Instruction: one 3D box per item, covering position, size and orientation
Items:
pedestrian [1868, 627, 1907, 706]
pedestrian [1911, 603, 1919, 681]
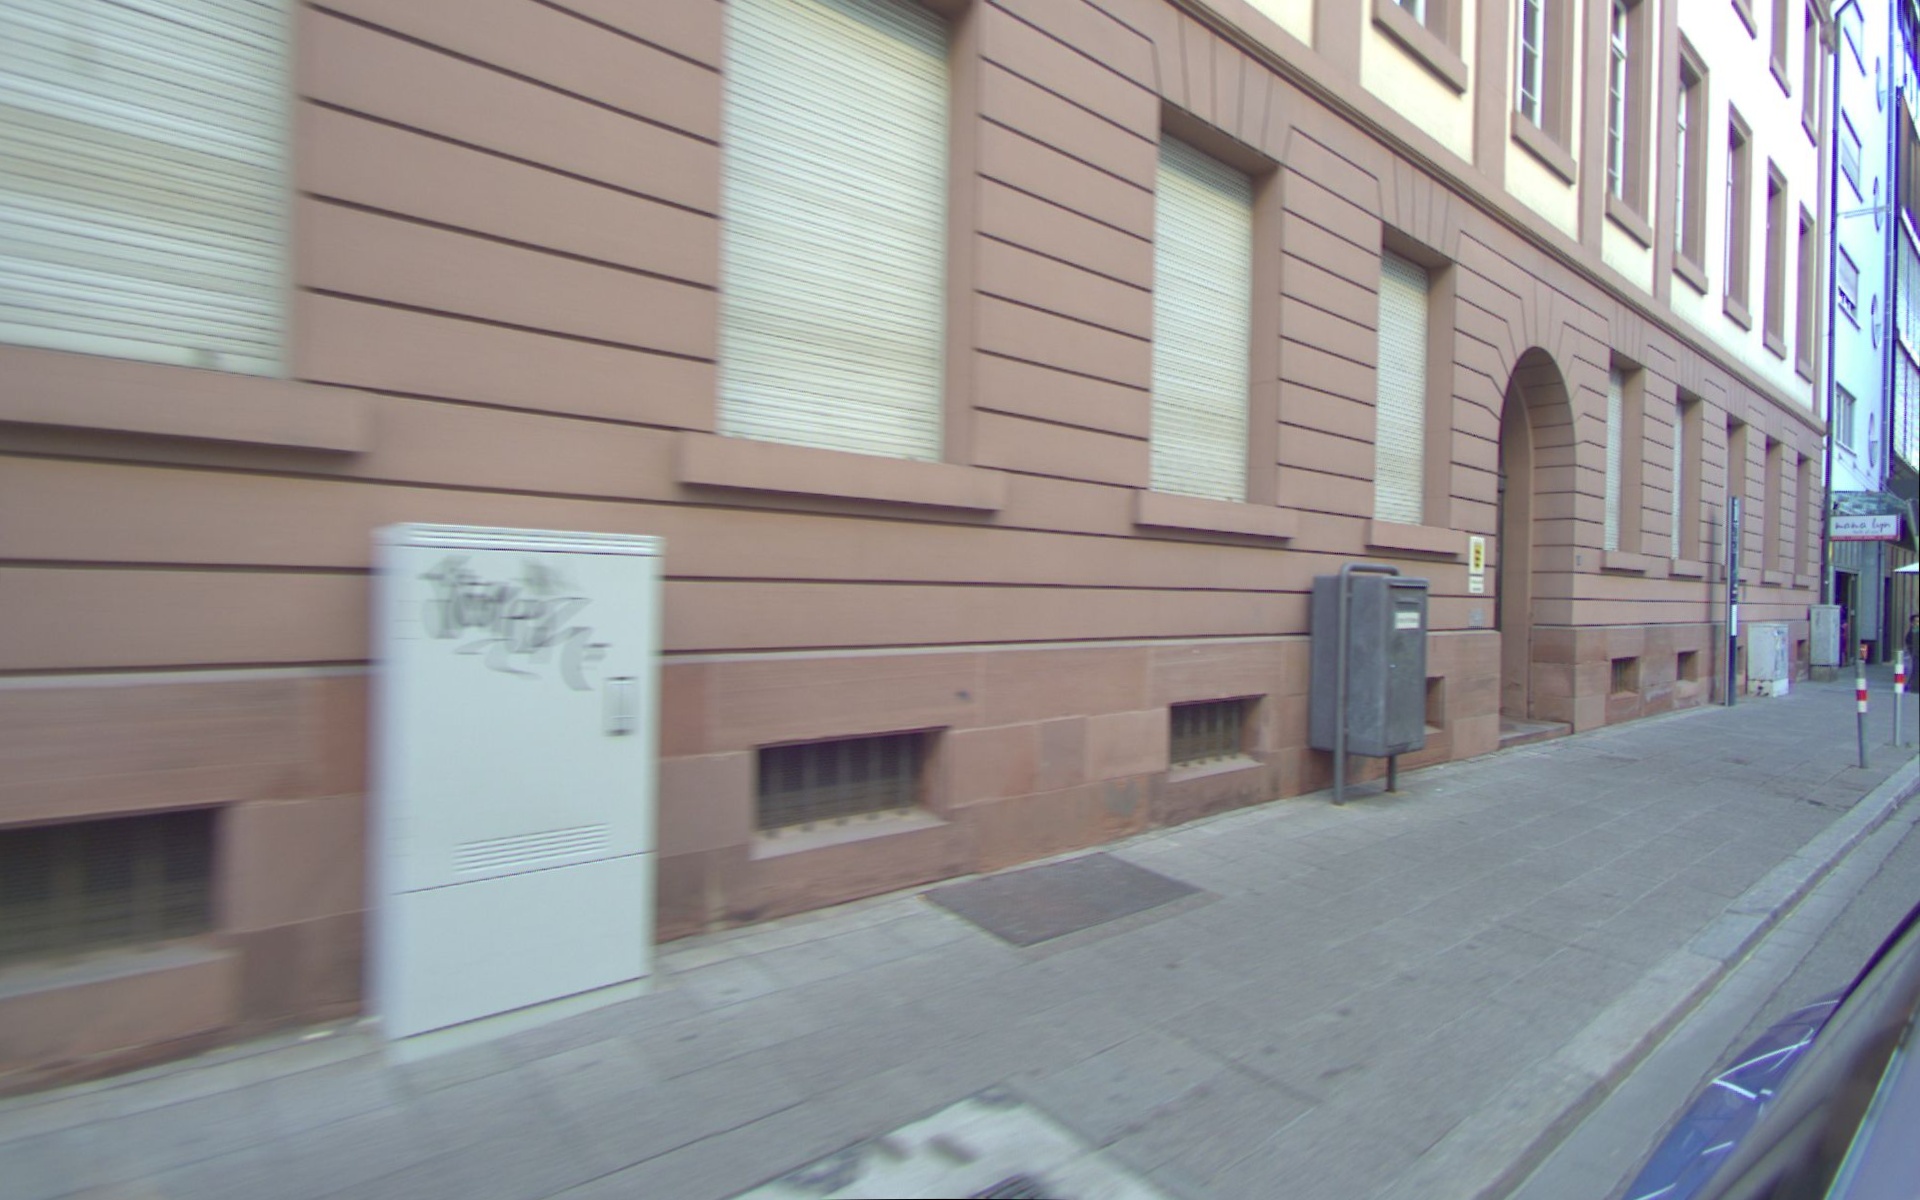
[{"bbox_3d":[21.967,1.564,23.962,0.638,1.794,0.592,1,0,44],"label":"pedestrian"},{"bbox_3d":[16.447,0.712,17.180,0.360,1.322,0.489,1,0,35],"label":"pedestrian"}]
